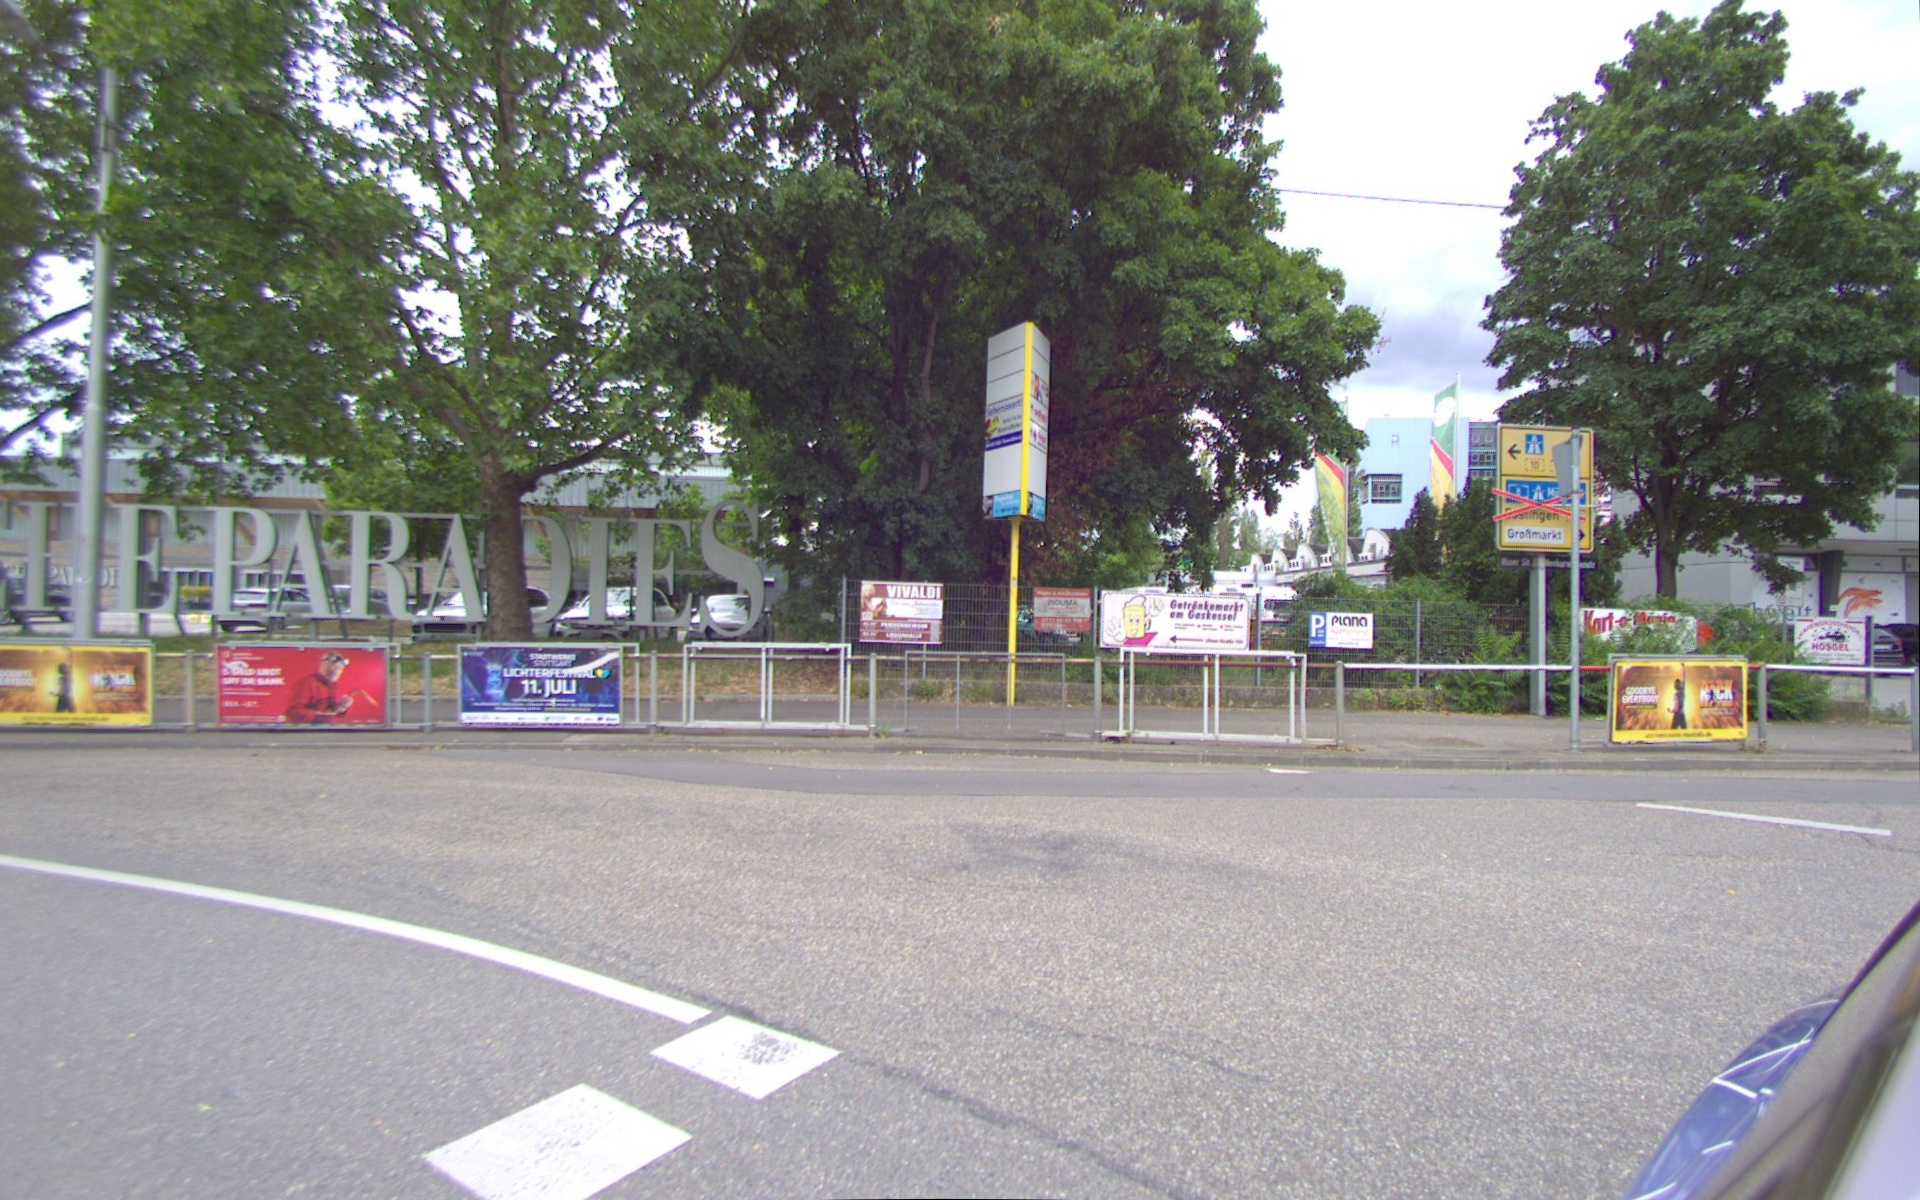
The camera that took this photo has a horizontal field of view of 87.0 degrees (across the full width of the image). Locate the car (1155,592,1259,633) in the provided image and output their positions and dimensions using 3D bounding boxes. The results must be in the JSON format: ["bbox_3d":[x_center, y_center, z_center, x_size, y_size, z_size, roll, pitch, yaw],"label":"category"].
[{"bbox_3d":[18.126,0.938,74.575,7.024,2.767,2.241,2,-1,3],"label":"car"}]

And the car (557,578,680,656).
[{"bbox_3d":[-7.882,0.420,23.735,1.561,1.634,4.318,1,-1,-3],"label":"car"}]

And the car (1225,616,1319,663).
[{"bbox_3d":[9.436,1.166,30.878,1.677,1.264,3.701,2,-1,0],"label":"car"}]

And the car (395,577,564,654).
[{"bbox_3d":[-11.216,0.386,24.008,1.848,1.634,4.524,1,-1,0],"label":"car"}]

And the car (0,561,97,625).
[{"bbox_3d":[-31.693,-0.217,33.714,1.961,2.039,4.641,1,-1,-2],"label":"car"}]

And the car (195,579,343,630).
[{"bbox_3d":[-23.472,0.186,34.620,1.961,1.581,4.641,1,-1,-2],"label":"car"}]

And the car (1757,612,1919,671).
[{"bbox_3d":[28.394,1.271,32.775,1.806,1.638,4.460,2,1,4],"label":"car"}]

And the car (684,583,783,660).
[{"bbox_3d":[-5.229,0.518,23.811,1.561,1.634,4.001,1,-1,-3],"label":"car"}]

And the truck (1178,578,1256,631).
[{"bbox_3d":[21.641,0.444,86.406,2.799,3.983,15.722,2,-1,1],"label":"truck"}]

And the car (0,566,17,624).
[{"bbox_3d":[-35.068,-0.224,34.286,1.961,2.039,4.641,1,-1,-2],"label":"car"}]

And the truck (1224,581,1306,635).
[{"bbox_3d":[25.532,0.740,85.793,2.820,4.077,15.836,2,-1,3],"label":"truck"}]

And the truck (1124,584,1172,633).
[{"bbox_3d":[17.552,0.796,95.143,2.944,4.219,9.182,1,0,2],"label":"truck"}]

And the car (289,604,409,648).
[{"bbox_3d":[-23.790,0.995,39.644,1.961,1.581,4.641,1,-1,-2],"label":"car"}]

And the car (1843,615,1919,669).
[{"bbox_3d":[31.255,1.378,32.635,1.806,1.638,4.420,2,1,3],"label":"car"}]
